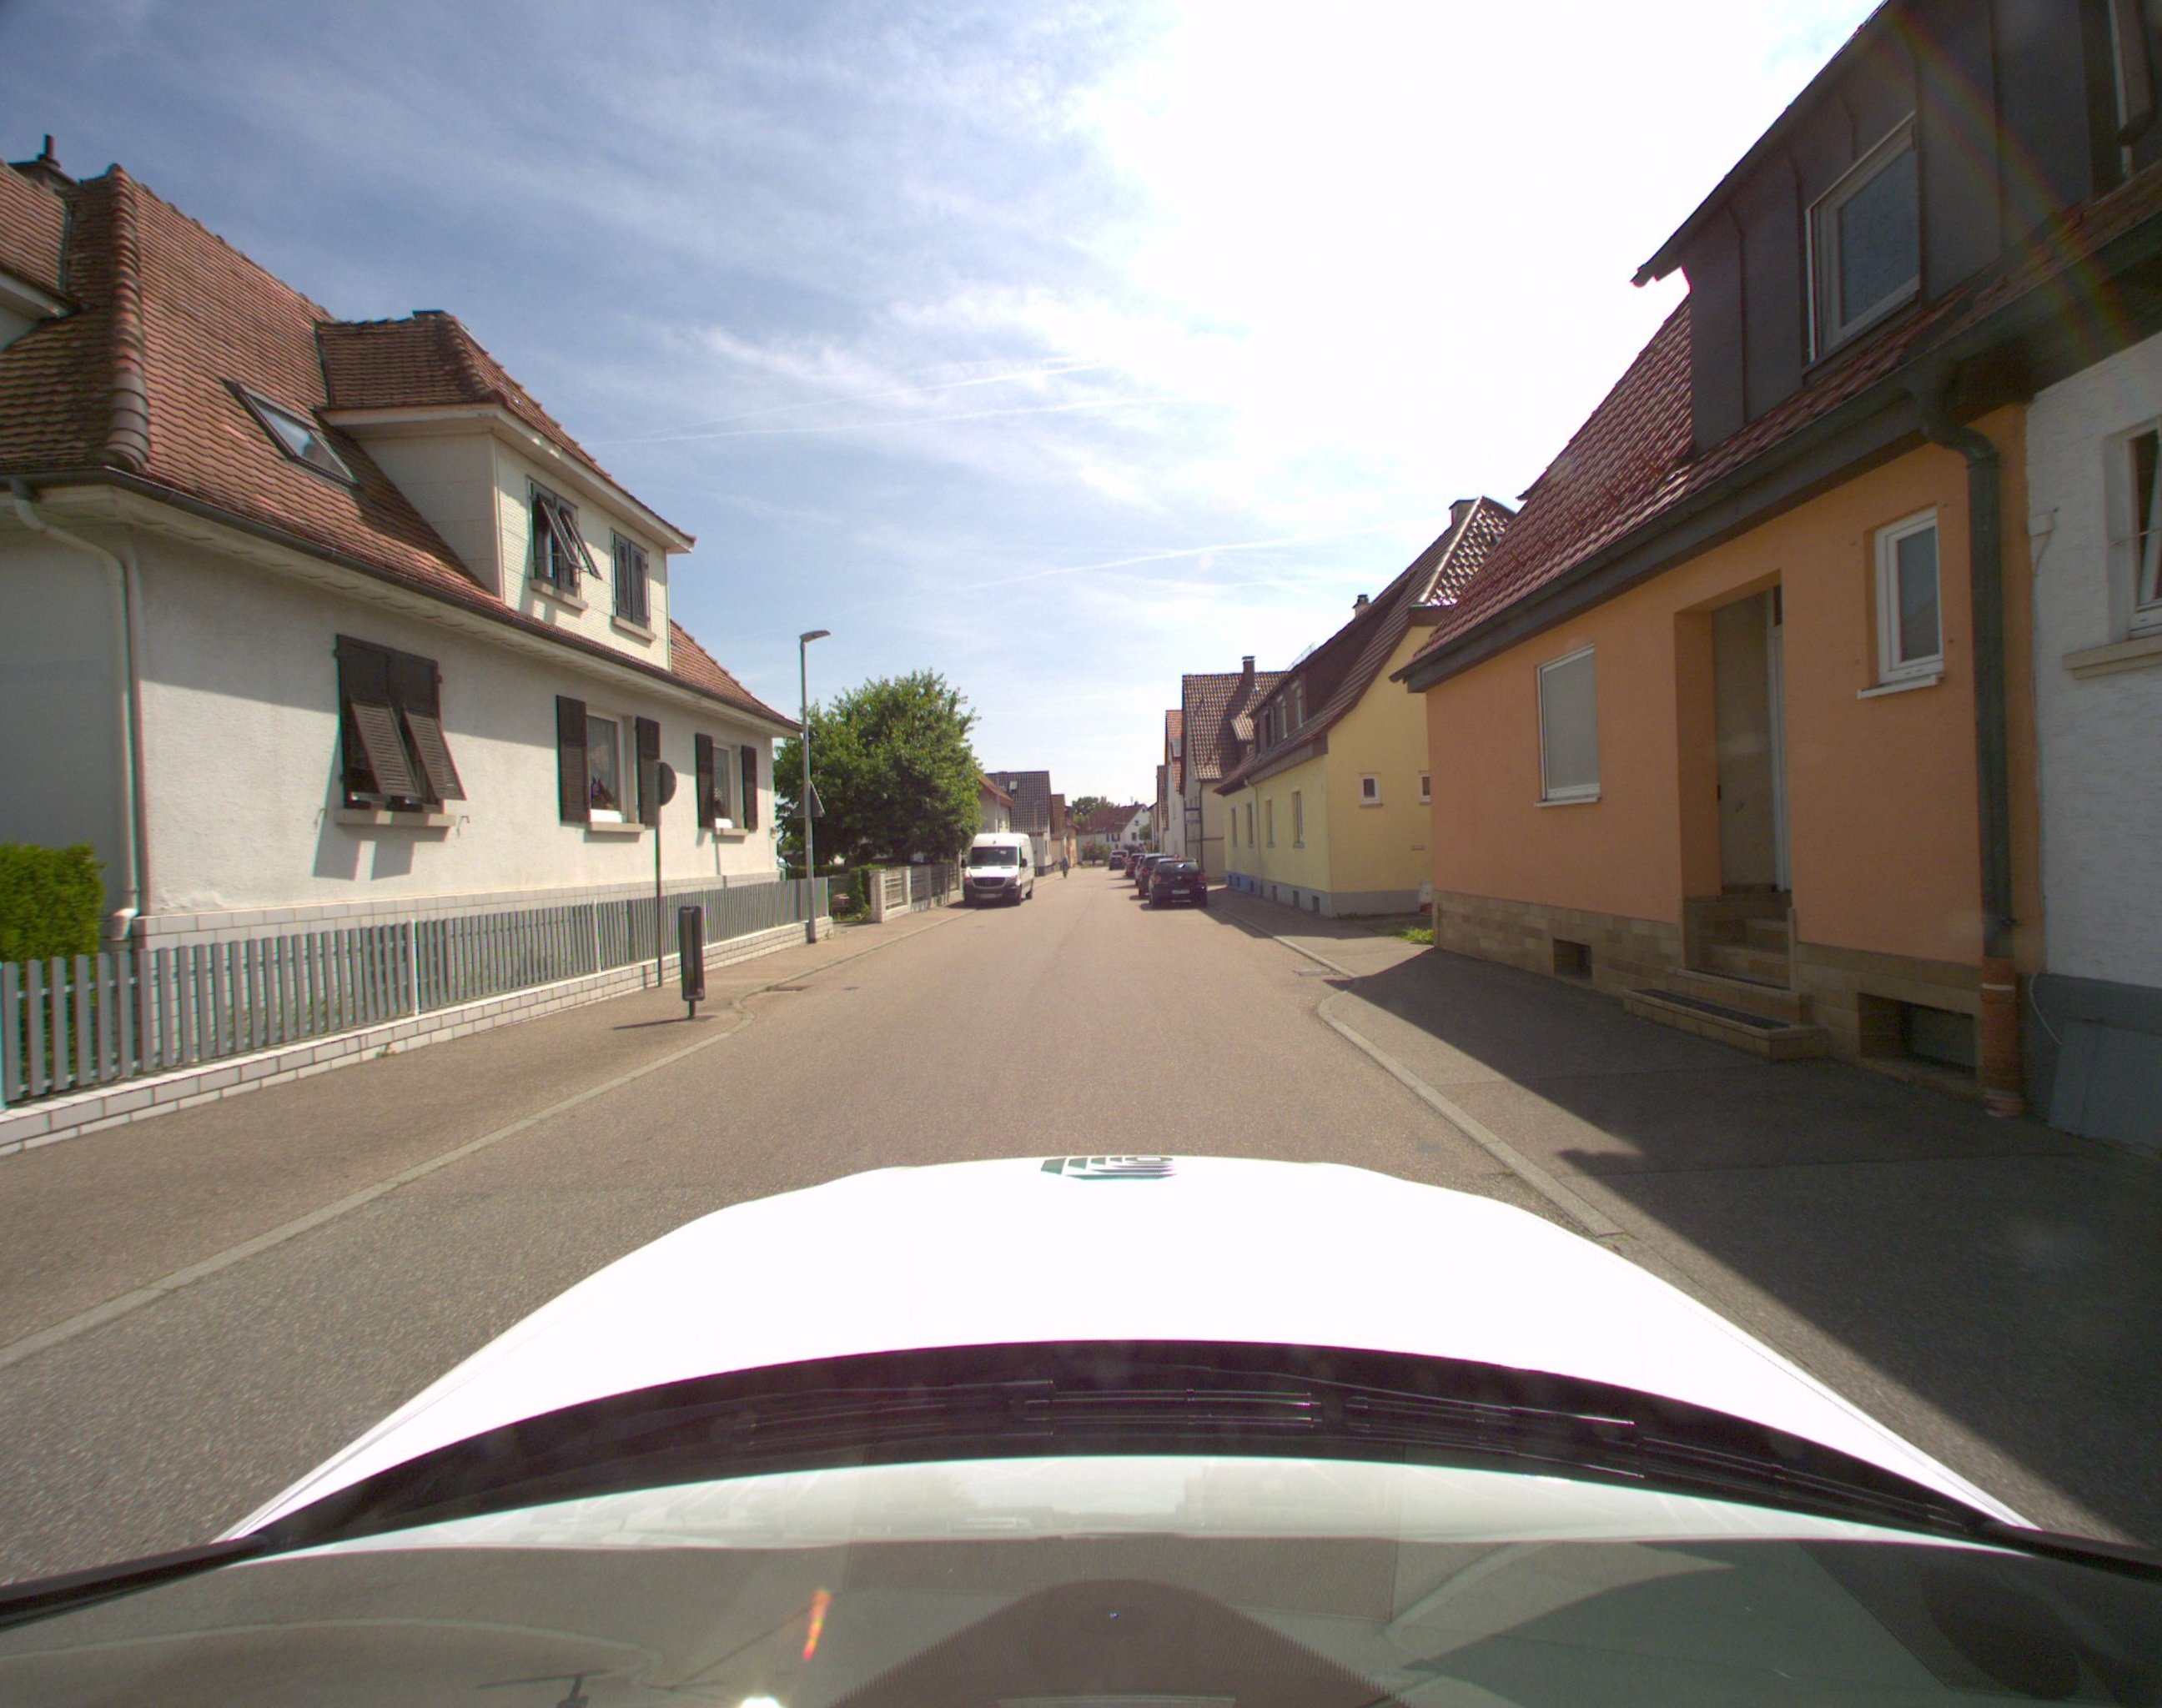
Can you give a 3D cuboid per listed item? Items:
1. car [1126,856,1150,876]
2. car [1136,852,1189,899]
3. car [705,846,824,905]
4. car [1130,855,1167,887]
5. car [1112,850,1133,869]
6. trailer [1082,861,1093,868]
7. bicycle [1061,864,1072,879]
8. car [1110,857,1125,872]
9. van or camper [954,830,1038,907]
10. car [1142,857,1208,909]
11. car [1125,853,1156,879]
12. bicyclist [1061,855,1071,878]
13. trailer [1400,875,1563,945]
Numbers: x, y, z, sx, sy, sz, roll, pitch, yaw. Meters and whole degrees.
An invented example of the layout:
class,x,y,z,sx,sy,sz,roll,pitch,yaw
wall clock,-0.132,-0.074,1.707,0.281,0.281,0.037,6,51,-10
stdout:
class,x,y,z,sx,sy,sz,roll,pitch,yaw
car,4.420,0.916,63.693,1.755,1.424,4.596,-2,0,4
car,2.995,0.750,30.547,1.721,1.600,4.256,-1,0,3
car,-14.927,0.999,38.610,4.786,2.492,1.966,-2,0,0
car,3.494,0.848,42.483,1.668,1.559,3.040,-1,0,0
car,5.216,0.673,102.820,2.117,2.158,4.747,-2,0,8
trailer,0.982,1.514,118.609,1.495,0.927,1.013,0,0,3
bicycle,-1.129,1.384,63.618,0.668,1.132,2.190,-2,0,1
car,3.985,1.118,88.604,1.508,1.567,3.189,-2,0,6
van or camper,-3.049,0.492,30.851,2.176,2.571,6.810,-1,0,2
car,2.808,0.828,24.988,1.605,1.431,3.754,-1,0,0
car,4.161,0.845,57.405,1.869,1.700,4.183,-2,0,0
bicyclist,-1.160,0.974,63.642,0.711,1.799,0.942,-2,0,0
trailer,6.155,0.811,12.522,2.147,0.899,1.231,-1,0,-28
